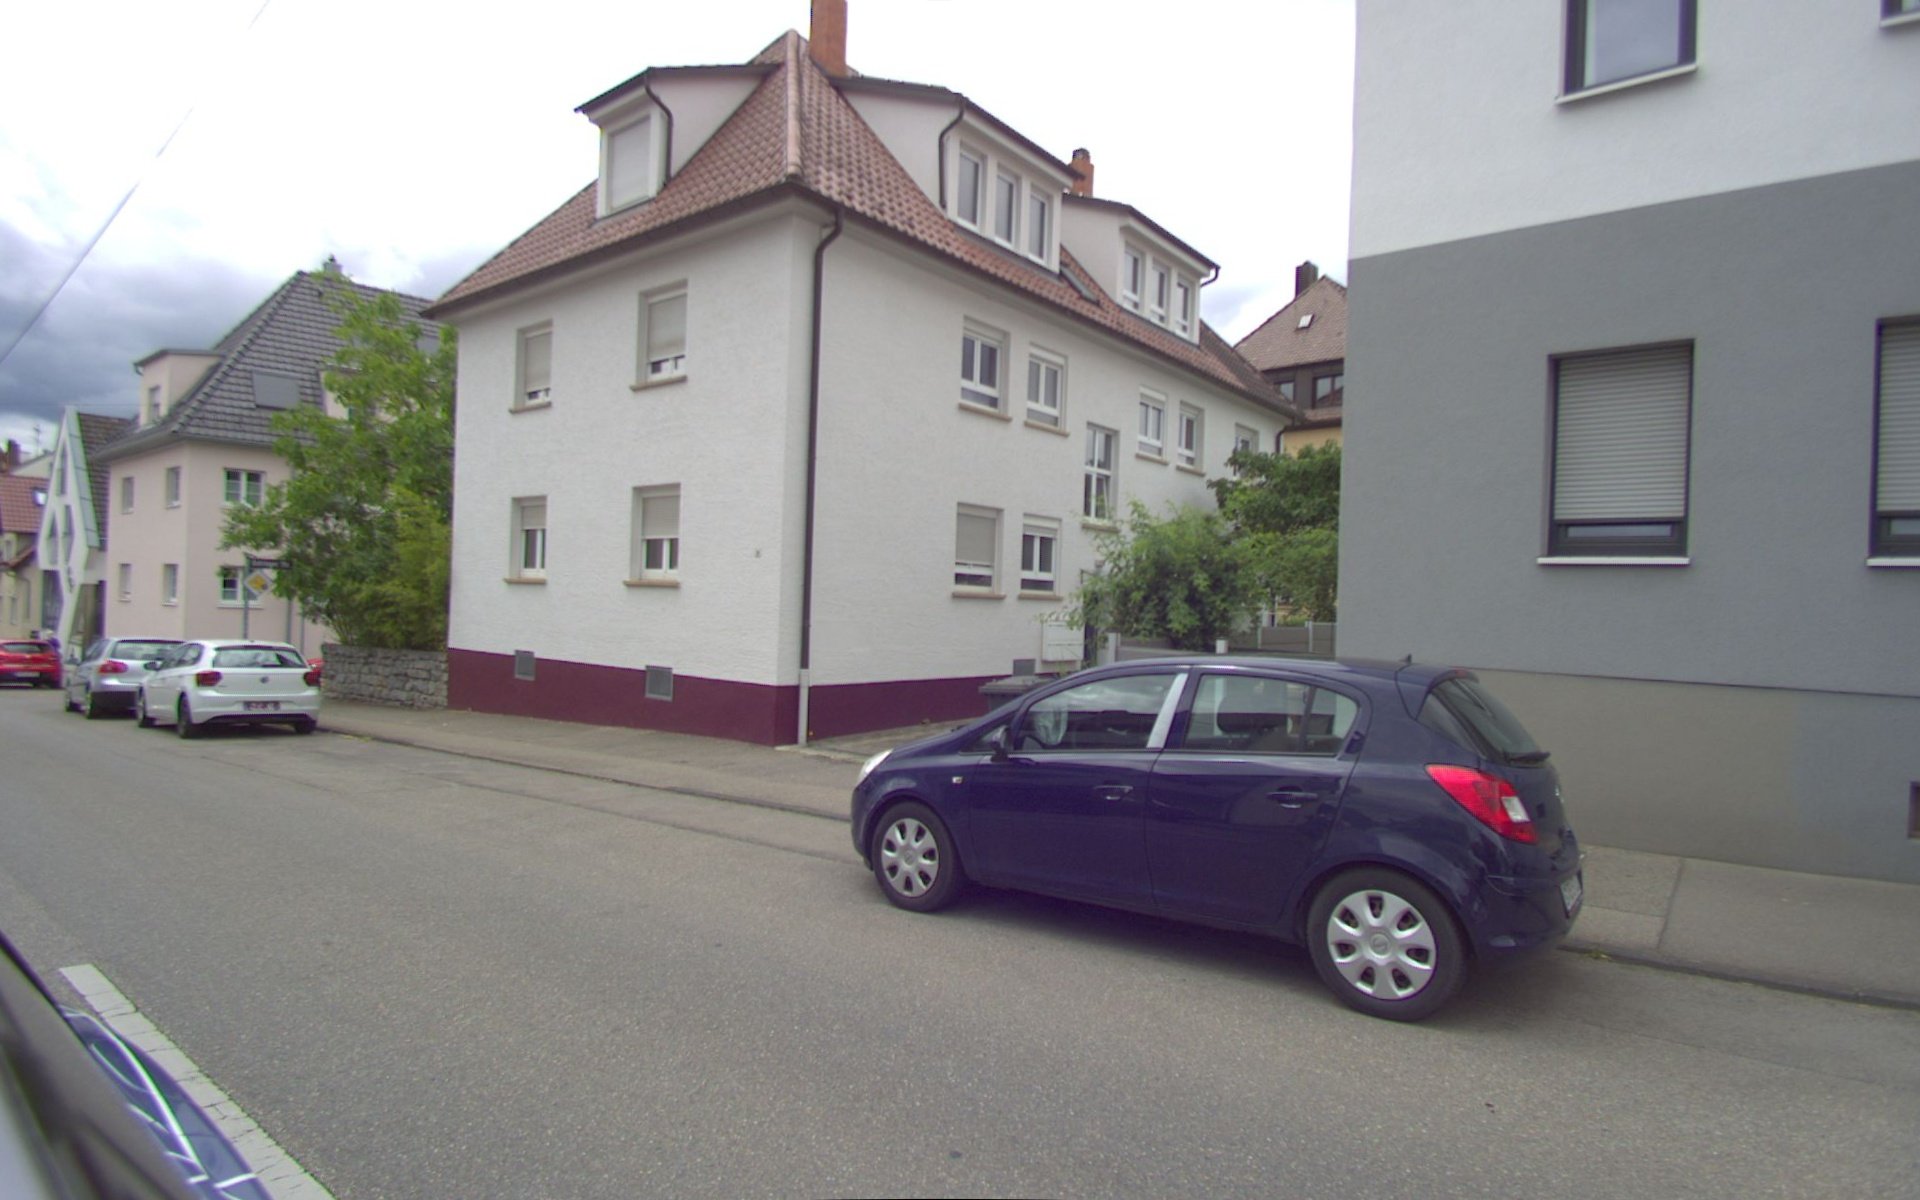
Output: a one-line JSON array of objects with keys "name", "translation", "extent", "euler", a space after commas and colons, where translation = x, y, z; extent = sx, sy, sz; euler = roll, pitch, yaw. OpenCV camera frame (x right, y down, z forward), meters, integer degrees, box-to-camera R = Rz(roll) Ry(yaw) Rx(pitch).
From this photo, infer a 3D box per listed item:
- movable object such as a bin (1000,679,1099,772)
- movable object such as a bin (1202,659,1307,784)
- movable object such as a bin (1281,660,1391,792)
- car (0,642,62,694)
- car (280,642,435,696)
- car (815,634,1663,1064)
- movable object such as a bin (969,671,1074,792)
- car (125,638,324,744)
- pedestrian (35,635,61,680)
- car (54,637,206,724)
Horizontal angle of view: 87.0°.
[{"name": "movable object such as a bin", "translation": [0.946, 1.315, 10.744], "extent": [0.758, 0.898, 0.670], "euler": [-5, -3, 39]}, {"name": "movable object such as a bin", "translation": [2.920, 1.170, 10.035], "extent": [0.763, 1.121, 0.718], "euler": [-1, 0, 40]}, {"name": "movable object such as a bin", "translation": [3.549, 1.155, 9.552], "extent": [0.763, 1.121, 0.718], "euler": [-1, 0, 40]}, {"name": "car", "translation": [-27.563, 1.939, 29.323], "extent": [3.732, 1.421, 1.685], "euler": [-1, -5, 40]}, {"name": "car", "translation": [-18.012, 2.007, 30.340], "extent": [1.708, 1.421, 3.682], "euler": [-2, -2, 44]}, {"name": "car", "translation": [1.297, 0.943, 5.435], "extent": [3.994, 1.456, 1.820], "euler": [-1, -4, 37]}, {"name": "movable object such as a bin", "translation": [0.595, 1.244, 9.799], "extent": [0.758, 1.053, 0.670], "euler": [-1, 0, 40]}, {"name": "car", "translation": [-11.697, 1.352, 16.017], "extent": [3.808, 1.458, 1.633], "euler": [-1, -3, 40]}, {"name": "pedestrian", "translation": [-31.836, 2.005, 35.316], "extent": [0.600, 1.544, 0.576], "euler": [-2, 0, 40]}, {"name": "car", "translation": [-15.677, 1.448, 19.050], "extent": [3.773, 1.458, 1.632], "euler": [-2, -3, 42]}]
